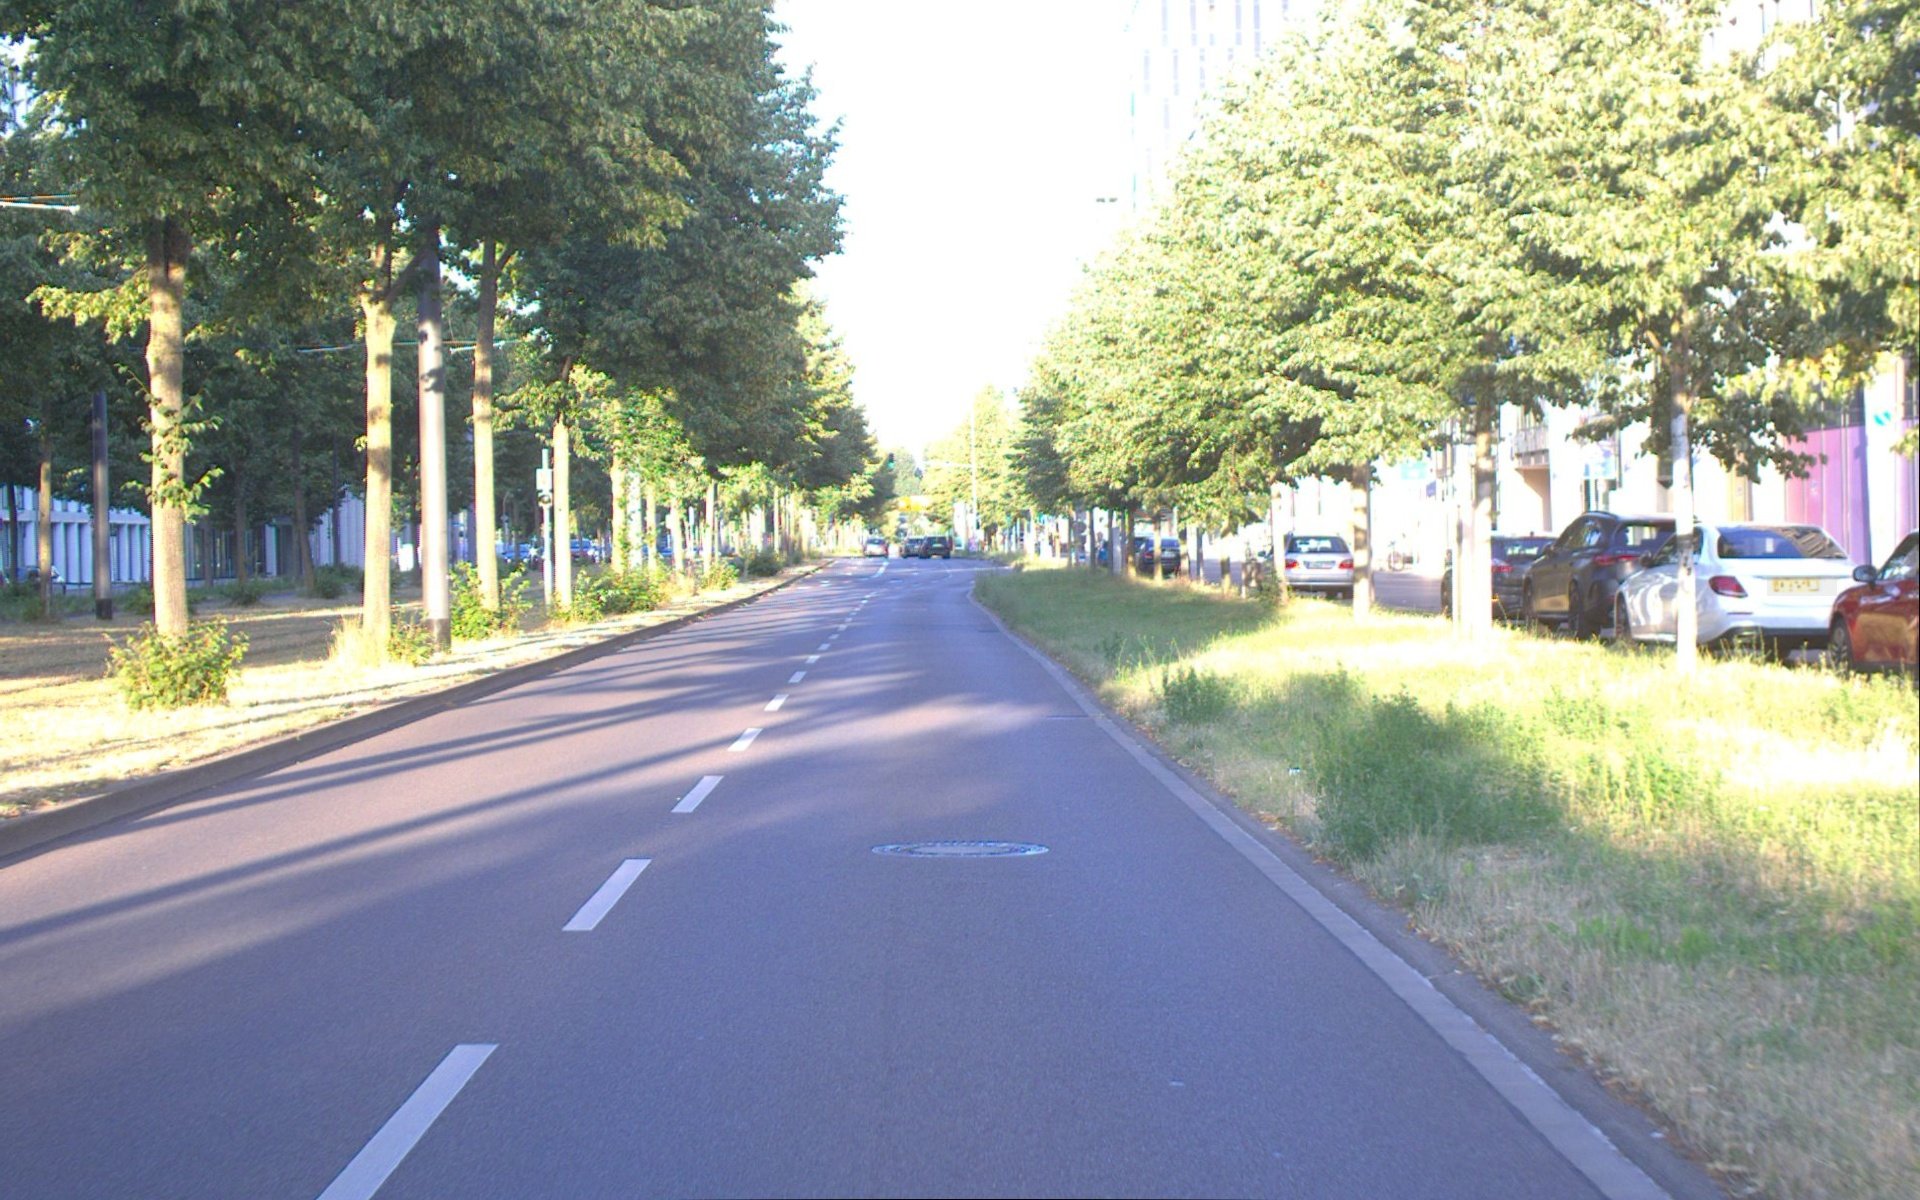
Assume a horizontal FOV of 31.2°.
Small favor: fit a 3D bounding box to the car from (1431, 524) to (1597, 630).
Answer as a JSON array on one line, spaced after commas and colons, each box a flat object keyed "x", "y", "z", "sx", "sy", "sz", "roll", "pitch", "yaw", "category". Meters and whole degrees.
[{"x": 8.127, "y": -0.362, "z": 50.755, "sx": 1.724, "sy": 1.495, "sz": 4.233, "roll": 0, "pitch": 1, "yaw": 0, "category": "car"}]

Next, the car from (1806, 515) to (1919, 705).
[{"x": 8.390, "y": 0.038, "z": 28.229, "sx": 1.808, "sy": 1.495, "sz": 3.960, "roll": -1, "pitch": 1, "yaw": -1, "category": "car"}]

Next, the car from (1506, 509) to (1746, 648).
[{"x": 8.316, "y": -0.298, "z": 43.375, "sx": 1.953, "sy": 1.618, "sz": 4.821, "roll": 1, "pitch": 1, "yaw": -1, "category": "car"}]

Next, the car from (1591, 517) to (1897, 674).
[{"x": 8.075, "y": -0.098, "z": 35.907, "sx": 1.920, "sy": 1.495, "sz": 5.010, "roll": -1, "pitch": 1, "yaw": -1, "category": "car"}]

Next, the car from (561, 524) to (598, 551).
[{"x": -23.647, "y": -3.877, "z": 213.915, "sx": 1.885, "sy": 1.572, "sz": 4.183, "roll": -1, "pitch": 1, "yaw": -1, "category": "car"}]

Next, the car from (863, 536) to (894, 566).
[{"x": -5.542, "y": -3.328, "z": 234.435, "sx": 2.087, "sy": 2.007, "sz": 4.000, "roll": -1, "pitch": 1, "yaw": -1, "category": "car"}]

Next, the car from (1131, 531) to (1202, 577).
[{"x": 7.237, "y": -1.631, "z": 120.960, "sx": 1.943, "sy": 1.543, "sz": 4.812, "roll": -1, "pitch": 1, "yaw": -3, "category": "car"}]

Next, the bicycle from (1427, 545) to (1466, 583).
[{"x": 13.906, "y": -1.021, "z": 98.303, "sx": 0.533, "sy": 1.057, "sz": 1.781, "roll": -3, "pitch": 1, "yaw": -10, "category": "bicycle"}]

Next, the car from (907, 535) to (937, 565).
[{"x": -2.629, "y": -3.489, "z": 239.405, "sx": 1.993, "sy": 2.007, "sz": 4.000, "roll": -1, "pitch": 1, "yaw": 0, "category": "car"}]

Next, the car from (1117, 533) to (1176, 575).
[{"x": 6.937, "y": -1.729, "z": 128.198, "sx": 1.854, "sy": 1.524, "sz": 4.483, "roll": 0, "pitch": 1, "yaw": -1, "category": "car"}]

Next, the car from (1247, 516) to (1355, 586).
[{"x": 7.607, "y": -1.115, "z": 77.079, "sx": 1.808, "sy": 1.495, "sz": 4.826, "roll": -1, "pitch": 1, "yaw": -1, "category": "car"}]

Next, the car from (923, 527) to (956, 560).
[{"x": -1.313, "y": -3.629, "z": 220.419, "sx": 1.993, "sy": 2.007, "sz": 4.000, "roll": -1, "pitch": 1, "yaw": -1, "category": "car"}]

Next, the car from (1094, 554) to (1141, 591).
[{"x": 6.702, "y": -1.184, "z": 146.981, "sx": 1.724, "sy": 1.524, "sz": 4.269, "roll": 0, "pitch": 1, "yaw": -1, "category": "car"}]

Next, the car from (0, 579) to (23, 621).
[{"x": -37.619, "y": -0.011, "z": 132.795, "sx": 1.860, "sy": 1.576, "sz": 3.492, "roll": -1, "pitch": 1, "yaw": 0, "category": "car"}]
